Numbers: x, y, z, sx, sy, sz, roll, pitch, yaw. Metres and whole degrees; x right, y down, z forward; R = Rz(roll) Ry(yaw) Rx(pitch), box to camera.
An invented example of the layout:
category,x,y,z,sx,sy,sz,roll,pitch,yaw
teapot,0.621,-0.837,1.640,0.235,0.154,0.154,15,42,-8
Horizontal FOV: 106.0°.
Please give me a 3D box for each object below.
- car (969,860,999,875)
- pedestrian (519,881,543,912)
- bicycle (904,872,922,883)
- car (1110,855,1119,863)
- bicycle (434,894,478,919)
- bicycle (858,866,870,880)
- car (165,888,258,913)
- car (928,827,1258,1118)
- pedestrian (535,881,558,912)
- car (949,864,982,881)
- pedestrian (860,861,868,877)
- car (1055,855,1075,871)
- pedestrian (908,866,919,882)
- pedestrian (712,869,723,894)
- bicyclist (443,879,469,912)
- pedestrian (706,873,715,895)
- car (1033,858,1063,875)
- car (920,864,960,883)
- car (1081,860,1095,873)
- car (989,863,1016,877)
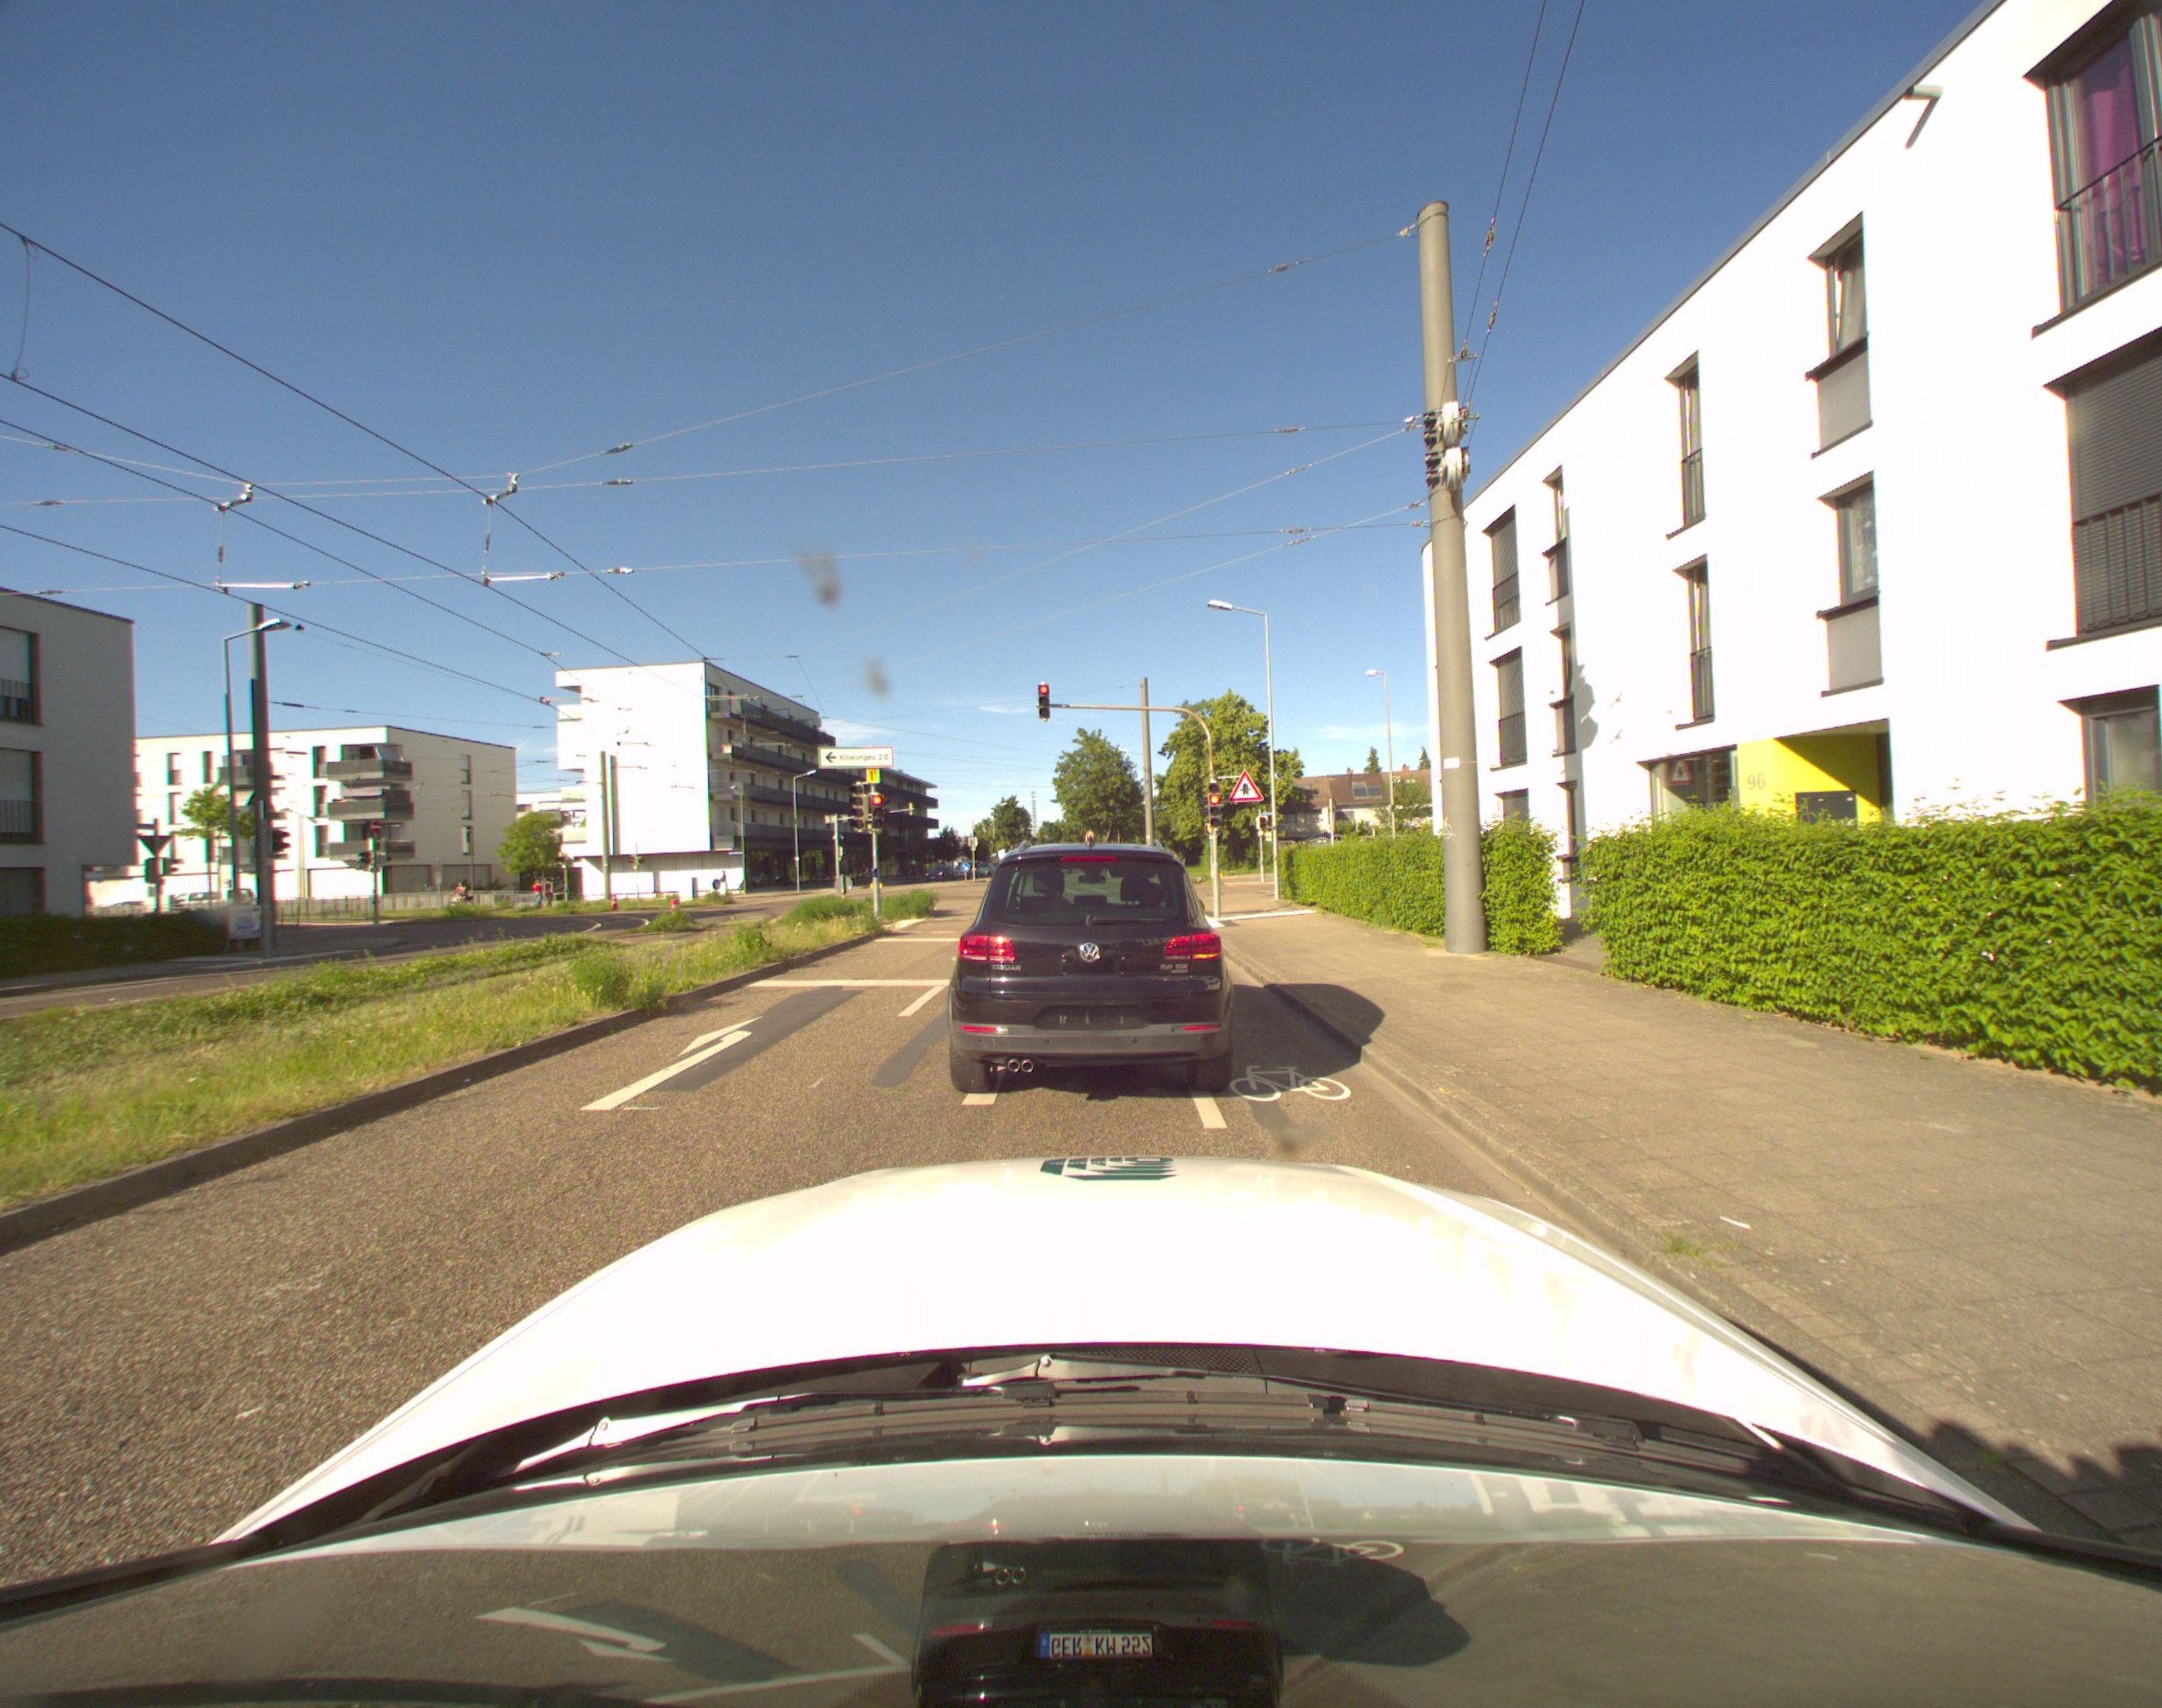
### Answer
category,x,y,z,sx,sy,sz,roll,pitch,yaw
car,-10.194,1.395,85.538,1.981,1.574,4.350,-1,-1,9
pedestrian,-29.541,2.275,43.756,0.770,1.605,0.741,0,-1,-5
bicycle,-15.257,2.110,73.922,0.766,0.989,2.438,-1,-1,9
car,7.161,1.134,173.511,1.985,1.684,4.003,0,-1,3
bicycle,-30.839,2.571,40.207,0.818,1.124,1.858,0,-1,-4
bicycle,-20.415,1.800,76.602,0.628,1.332,1.911,0,-1,-2
car,-58.913,3.155,55.213,4.305,1.574,2.002,0,-1,4
car,0.127,0.689,6.624,1.862,1.637,4.001,0,-1,2
pedestrian,-28.705,2.269,43.759,0.770,1.605,0.741,0,-1,-5
car,-11.206,1.733,79.239,1.981,1.574,4.350,-1,-1,9
pedestrian,-20.408,1.444,76.637,0.641,1.509,0.595,0,-1,-3
car,-1.842,1.067,93.461,1.855,1.720,3.691,-2,0,4
pedestrian,-15.247,1.806,74.001,0.707,1.474,0.956,-1,-1,9
pedestrian,-25.218,1.918,56.449,0.542,1.744,0.517,0,-1,-4
bicyclist,-30.843,2.039,40.224,0.781,1.614,0.640,0,-1,-3
pedestrian,-25.436,2.035,55.892,0.440,1.503,0.517,0,-1,-4
car,-3.035,1.148,75.778,1.852,1.485,4.121,-3,0,9
car,-12.408,1.668,71.924,1.980,1.574,4.353,-1,-1,11
car,1.096,1.898,123.462,1.985,1.836,4.004,0,-1,4
car,-8.824,1.767,91.805,1.981,1.574,4.350,-1,-1,9
